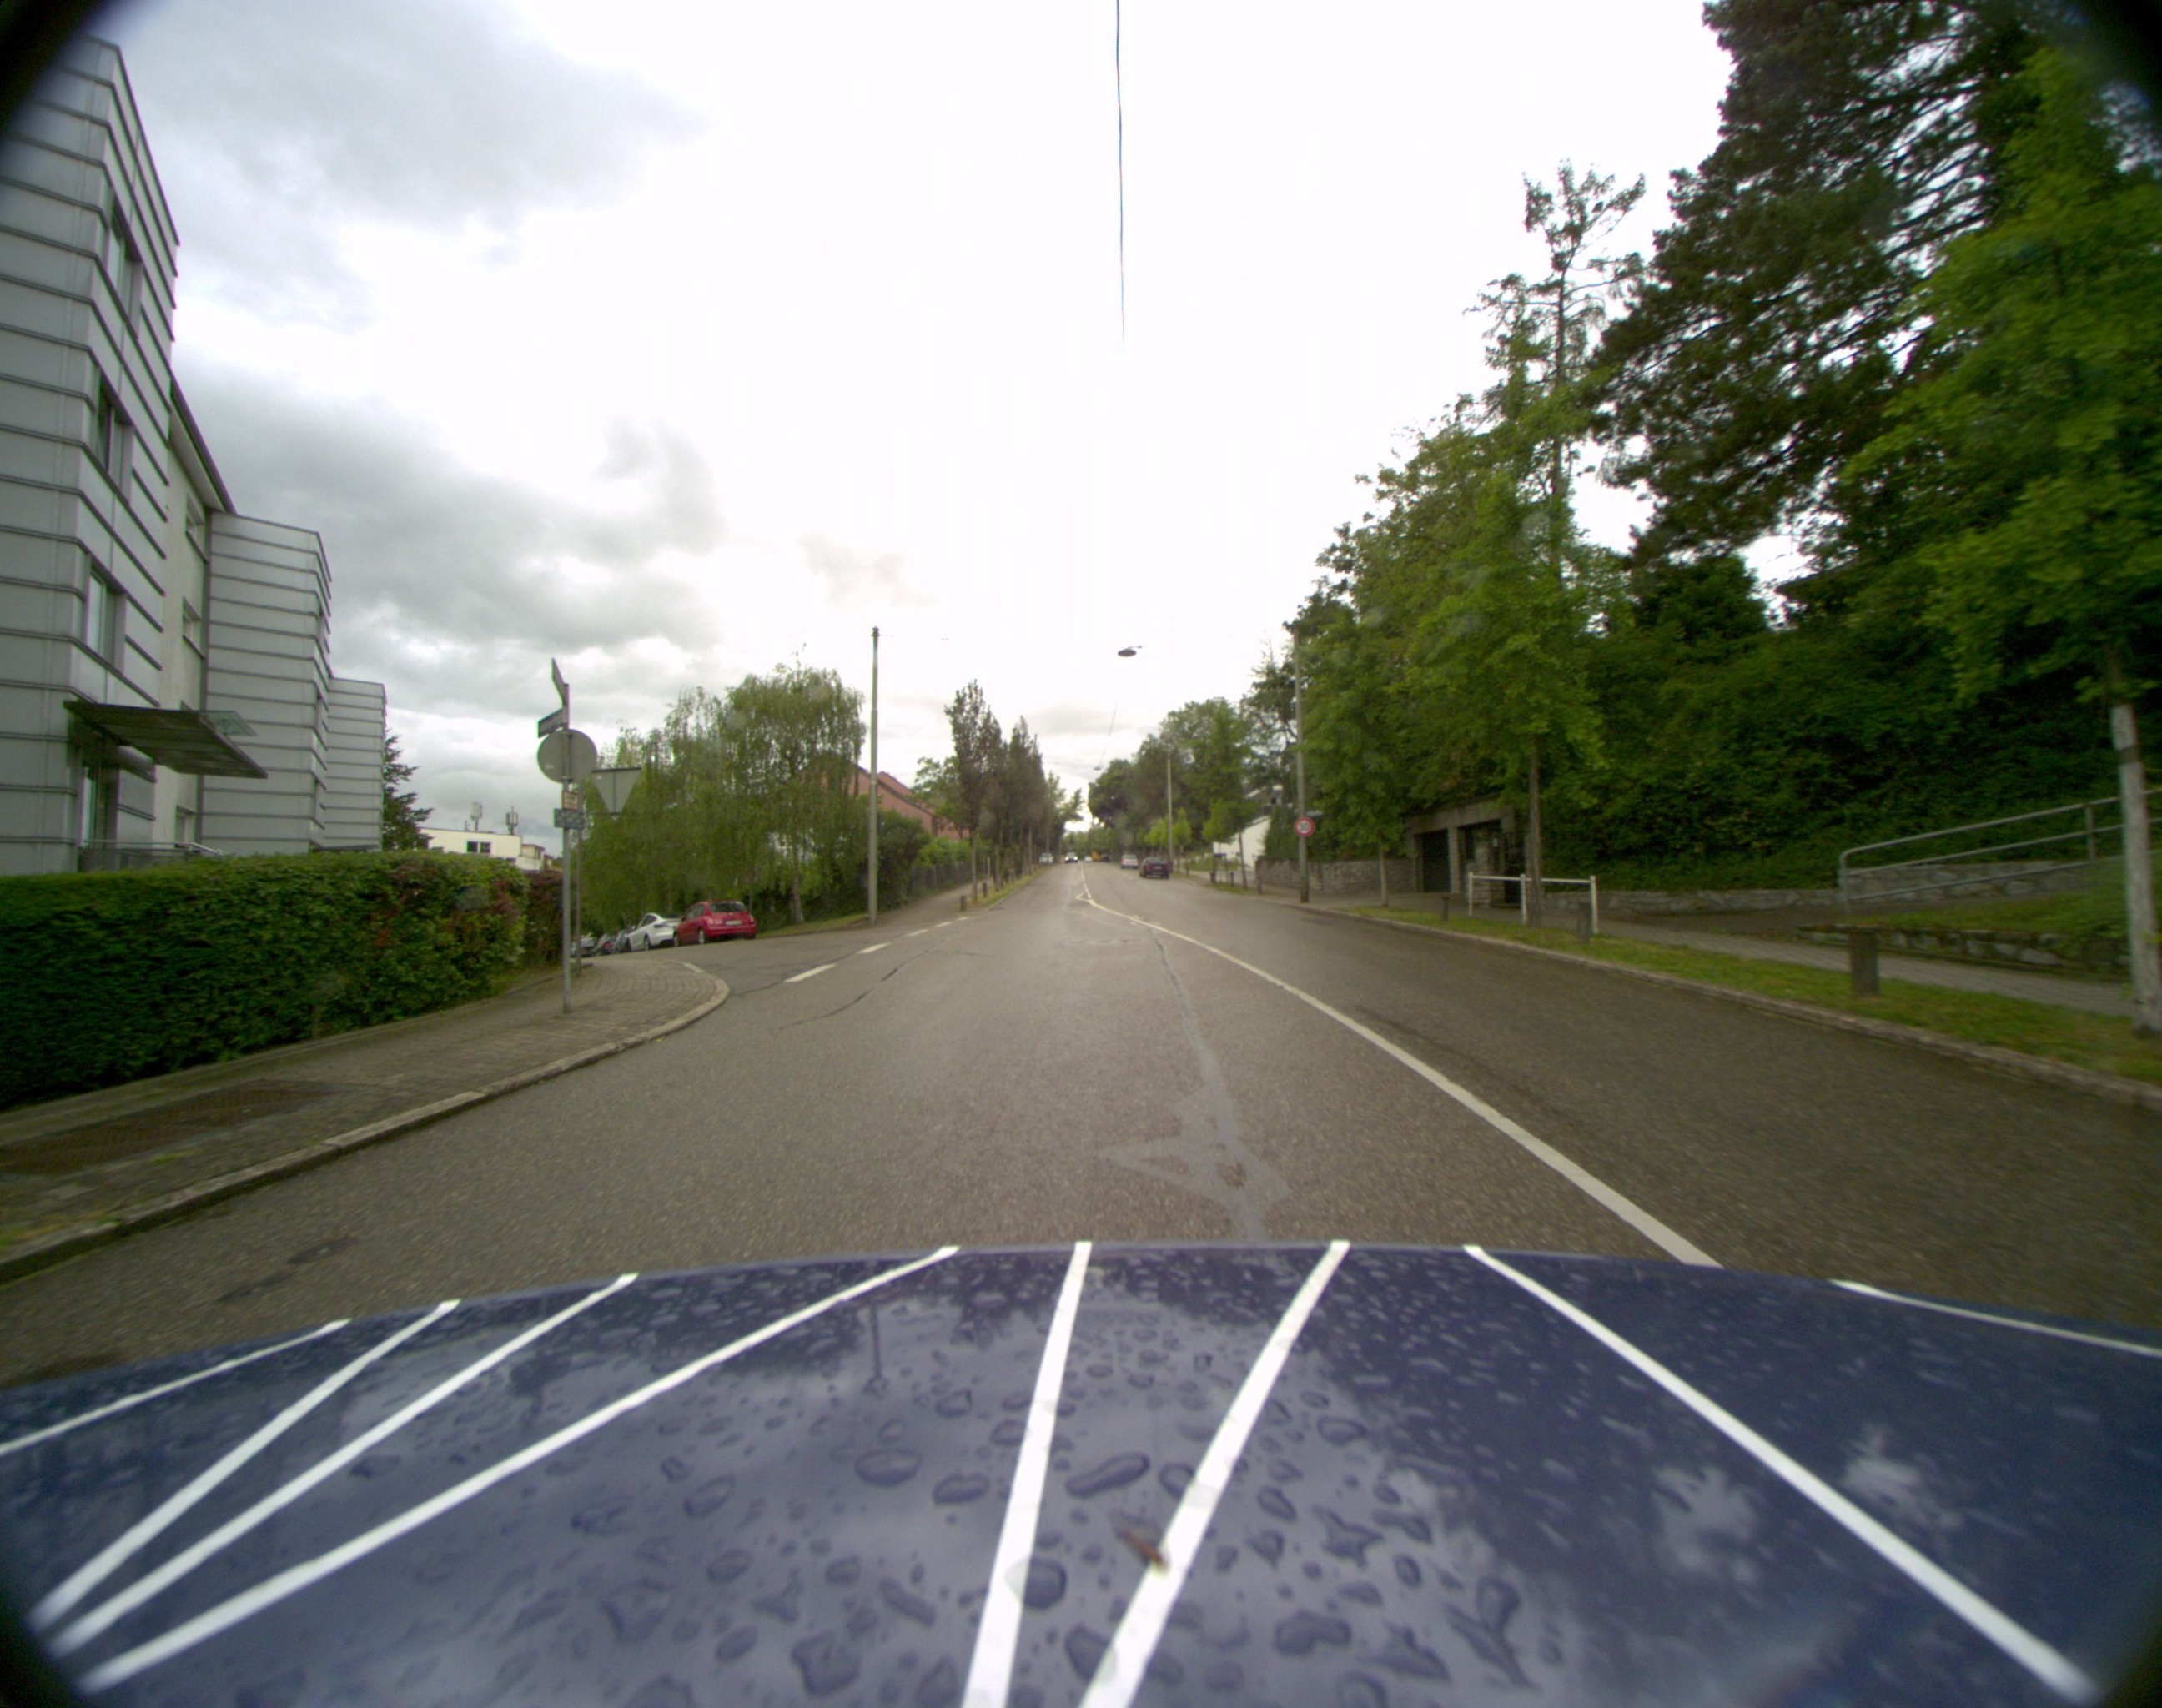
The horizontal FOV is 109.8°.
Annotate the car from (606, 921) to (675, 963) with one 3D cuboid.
[{"bbox_3d":[-19.721,3.965,33.933,1.730,1.412,4.294,-5,-5,-42],"label":"car"}]

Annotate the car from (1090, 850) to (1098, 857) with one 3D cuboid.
[{"bbox_3d":[2.792,-0.031,169.186,1.766,1.477,3.999,-1,1,0],"label":"car"}]

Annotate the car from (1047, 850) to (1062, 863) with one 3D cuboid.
[{"bbox_3d":[-3.531,0.355,101.884,1.829,1.620,3.999,-1,1,-2],"label":"car"}]

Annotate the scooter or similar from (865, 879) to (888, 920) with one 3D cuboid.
[{"bbox_3d":[-6.870,1.507,25.553,0.343,1.247,1.267,-5,2,-1],"label":"scooter or similar"}]

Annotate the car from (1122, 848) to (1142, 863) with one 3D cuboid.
[{"bbox_3d":[5.147,0.172,76.847,1.769,1.477,3.800,1,0,0],"label":"car"}]

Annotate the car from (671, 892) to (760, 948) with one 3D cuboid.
[{"bbox_3d":[-12.193,2.217,25.264,1.648,1.512,3.563,-2,-6,-42],"label":"car"}]

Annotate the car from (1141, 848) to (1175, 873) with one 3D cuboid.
[{"bbox_3d":[5.338,0.434,53.078,1.916,1.576,4.586,1,1,1],"label":"car"}]

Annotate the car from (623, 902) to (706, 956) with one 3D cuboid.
[{"bbox_3d":[-16.052,2.933,29.173,1.730,1.531,4.366,-5,-6,-42],"label":"car"}]

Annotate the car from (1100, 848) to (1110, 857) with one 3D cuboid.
[{"bbox_3d":[4.395,-0.252,139.295,1.750,1.540,3.917,1,1,-1],"label":"car"}]

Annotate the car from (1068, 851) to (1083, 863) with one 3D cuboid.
[{"bbox_3d":[-0.812,0.453,117.447,1.998,1.674,4.001,-5,0,3],"label":"car"}]
